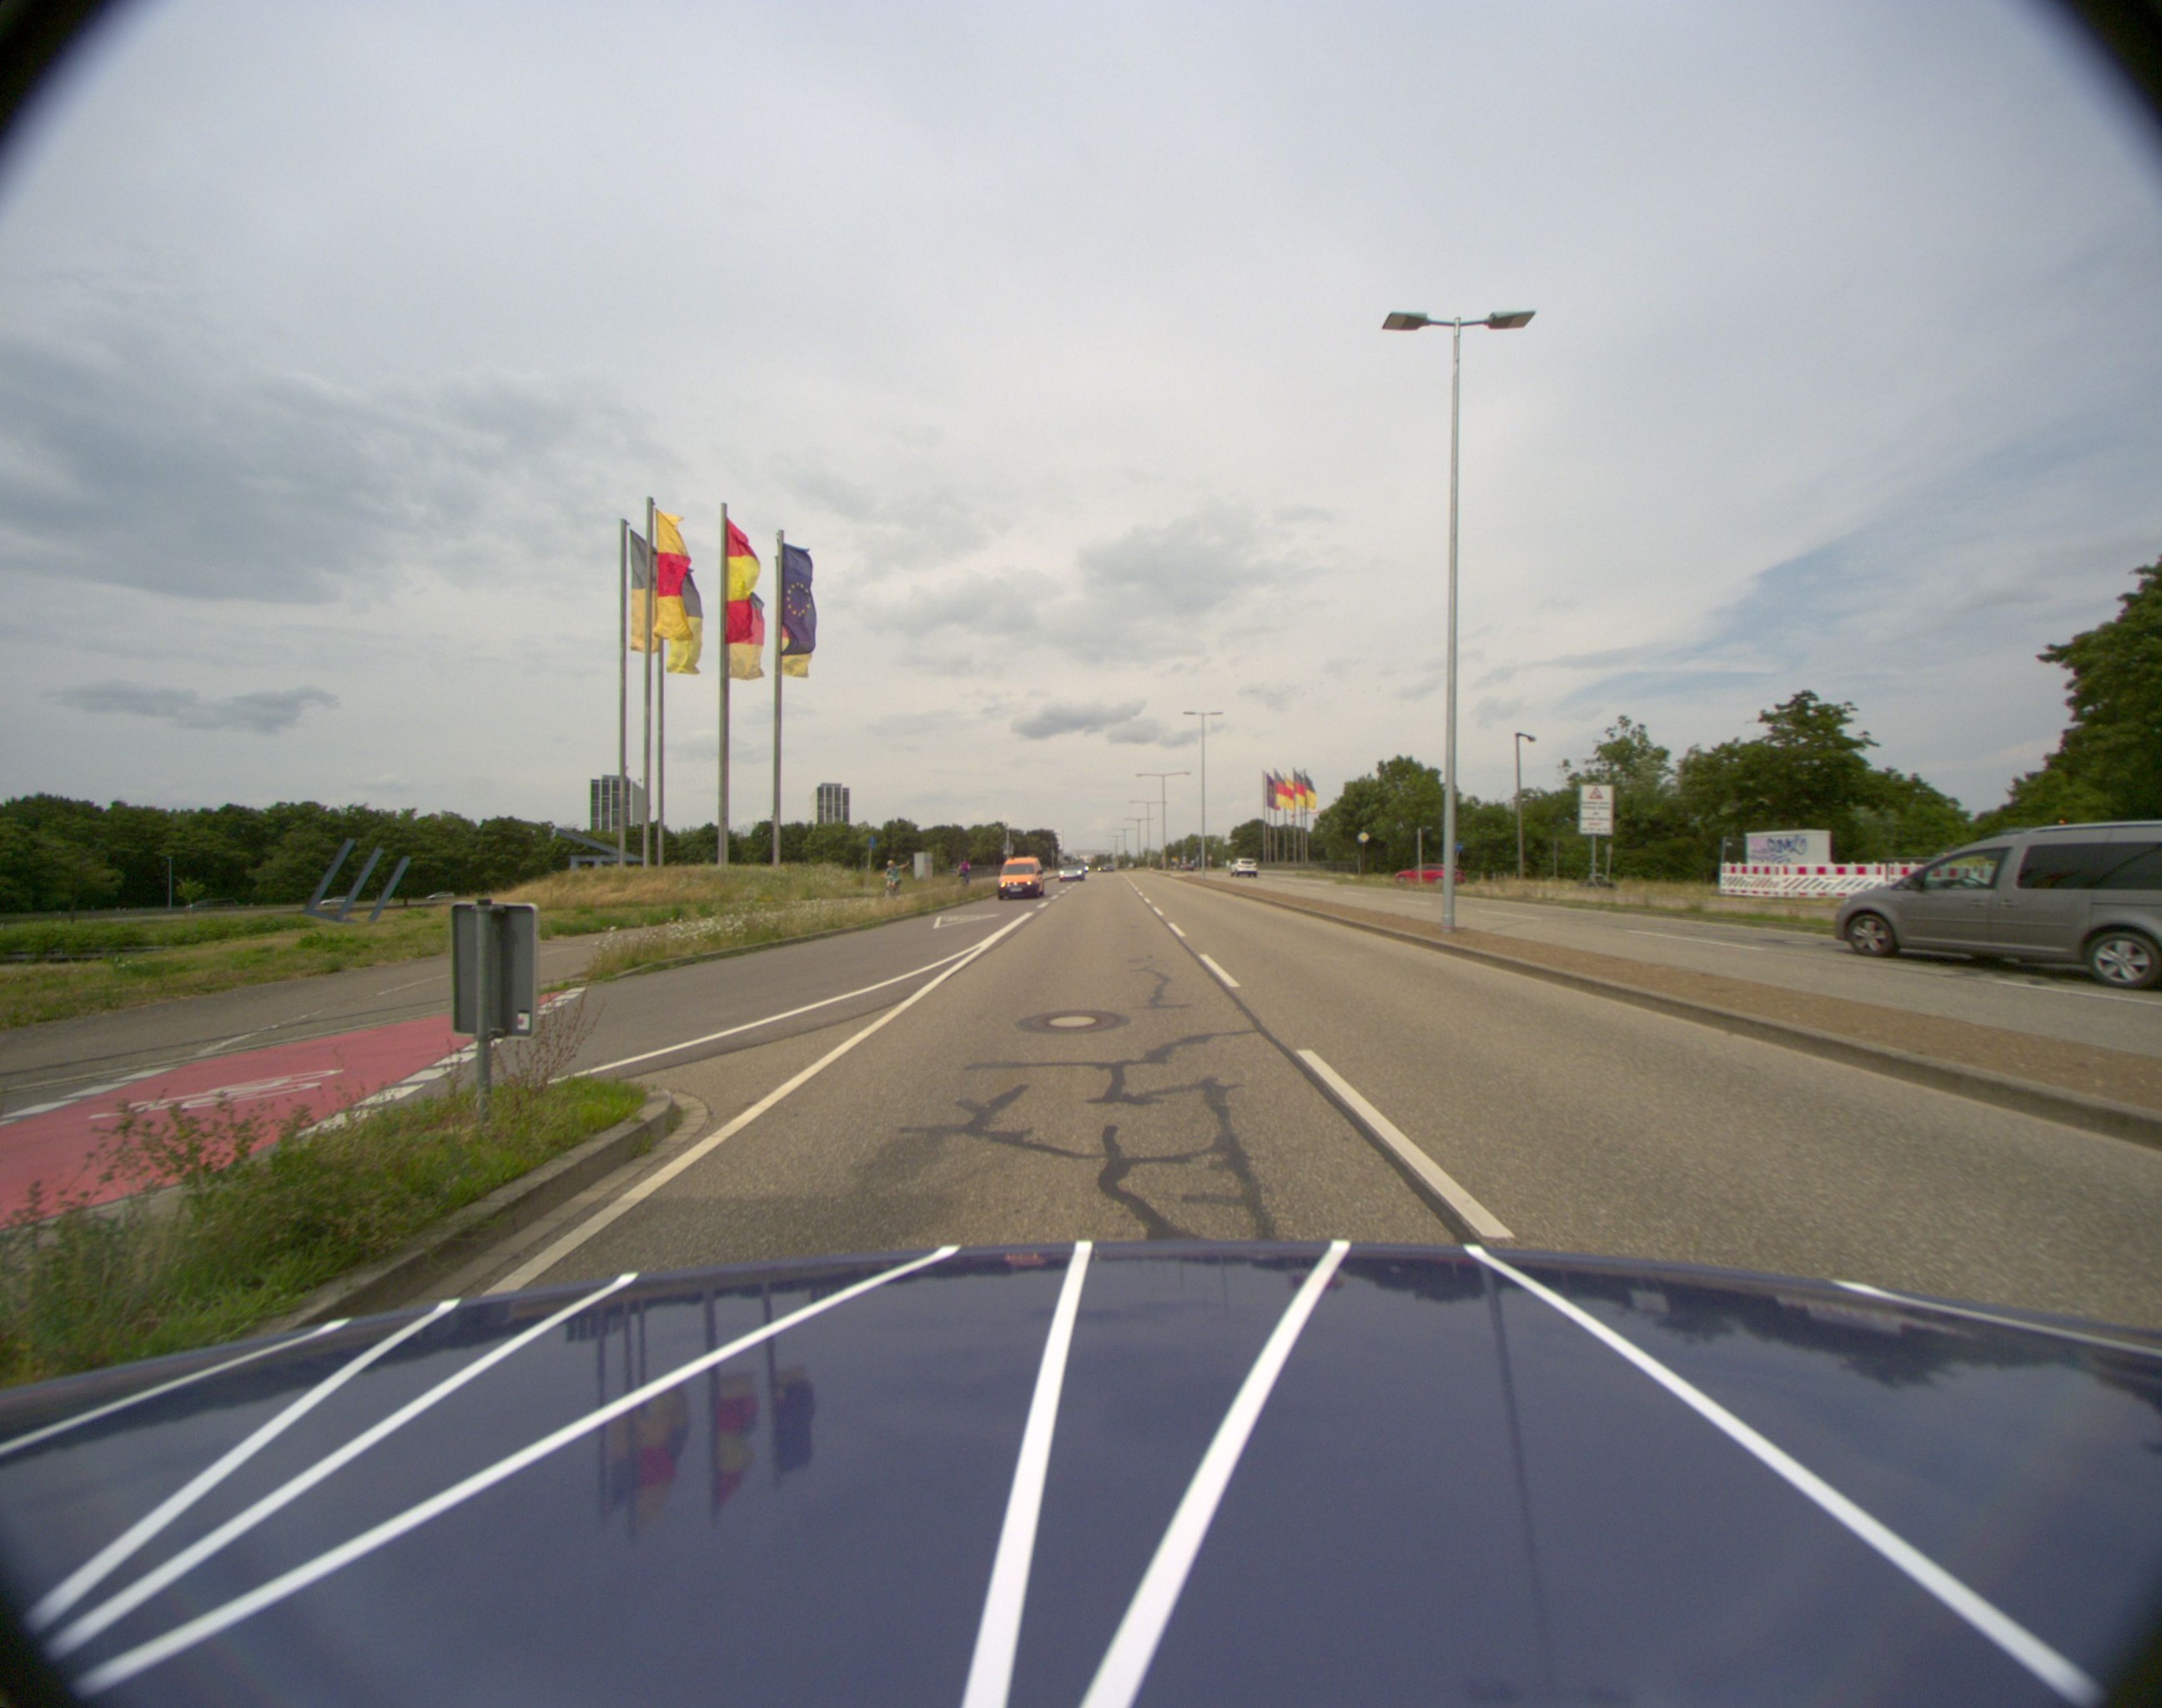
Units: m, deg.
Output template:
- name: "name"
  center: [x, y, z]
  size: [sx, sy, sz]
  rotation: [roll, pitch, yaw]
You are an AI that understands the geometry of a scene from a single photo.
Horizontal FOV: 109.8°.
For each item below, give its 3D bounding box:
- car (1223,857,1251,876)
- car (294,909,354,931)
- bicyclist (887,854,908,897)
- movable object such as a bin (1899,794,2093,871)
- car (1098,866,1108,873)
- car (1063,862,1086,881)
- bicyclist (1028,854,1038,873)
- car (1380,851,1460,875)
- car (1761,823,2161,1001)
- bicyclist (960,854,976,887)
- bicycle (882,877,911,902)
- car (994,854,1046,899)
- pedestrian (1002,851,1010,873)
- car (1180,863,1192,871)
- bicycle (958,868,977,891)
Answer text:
- name: "car"
  center: [13.846, 1.115, 67.599]
  size: [1.698, 1.619, 4.385]
  rotation: [-1, -1, 1]
- name: "car"
  center: [-76.778, 6.718, 77.110]
  size: [4.000, 2.001, 1.877]
  rotation: [-1, -1, -10]
- name: "bicyclist"
  center: [-7.260, 0.852, 30.066]
  size: [0.623, 1.656, 0.669]
  rotation: [2, -1, -1]
- name: "movable object such as a bin"
  center: [30.105, -0.665, 25.063]
  size: [4.593, 2.382, 1.999]
  rotation: [-1, -1, -9]
- name: "car"
  center: [3.642, 2.567, 126.002]
  size: [1.558, 1.229, 3.470]
  rotation: [-2, -1, 0]
- name: "car"
  center: [-0.541, 1.412, 60.099]
  size: [1.695, 1.403, 3.684]
  rotation: [-2, -1, -2]
- name: "bicyclist"
  center: [-4.629, 0.927, 73.478]
  size: [0.873, 1.791, 0.956]
  rotation: [-1, 2, -5]
- name: "car"
  center: [21.293, 0.580, 47.847]
  size: [1.785, 1.365, 4.286]
  rotation: [0, -1, -38]
- name: "car"
  center: [11.894, 0.616, 9.944]
  size: [1.907, 1.798, 4.540]
  rotation: [-1, -1, 0]
- name: "bicyclist"
  center: [-6.081, 0.879, 40.902]
  size: [0.705, 1.745, 0.991]
  rotation: [-1, 0, 0]
- name: "bicycle"
  center: [-7.268, 1.379, 29.972]
  size: [0.625, 0.883, 2.154]
  rotation: [-1, 0, -1]
- name: "car"
  center: [-2.675, 0.982, 34.239]
  size: [1.892, 1.824, 4.431]
  rotation: [-2, -1, 0]
- name: "pedestrian"
  center: [-7.161, 0.765, 72.716]
  size: [0.628, 2.001, 0.668]
  rotation: [1, -1, 1]
- name: "car"
  center: [19.885, 2.516, 143.498]
  size: [1.998, 1.365, 4.578]
  rotation: [0, 0, 5]
- name: "bicycle"
  center: [-6.069, 1.339, 40.781]
  size: [0.695, 1.185, 2.461]
  rotation: [0, -1, 0]
